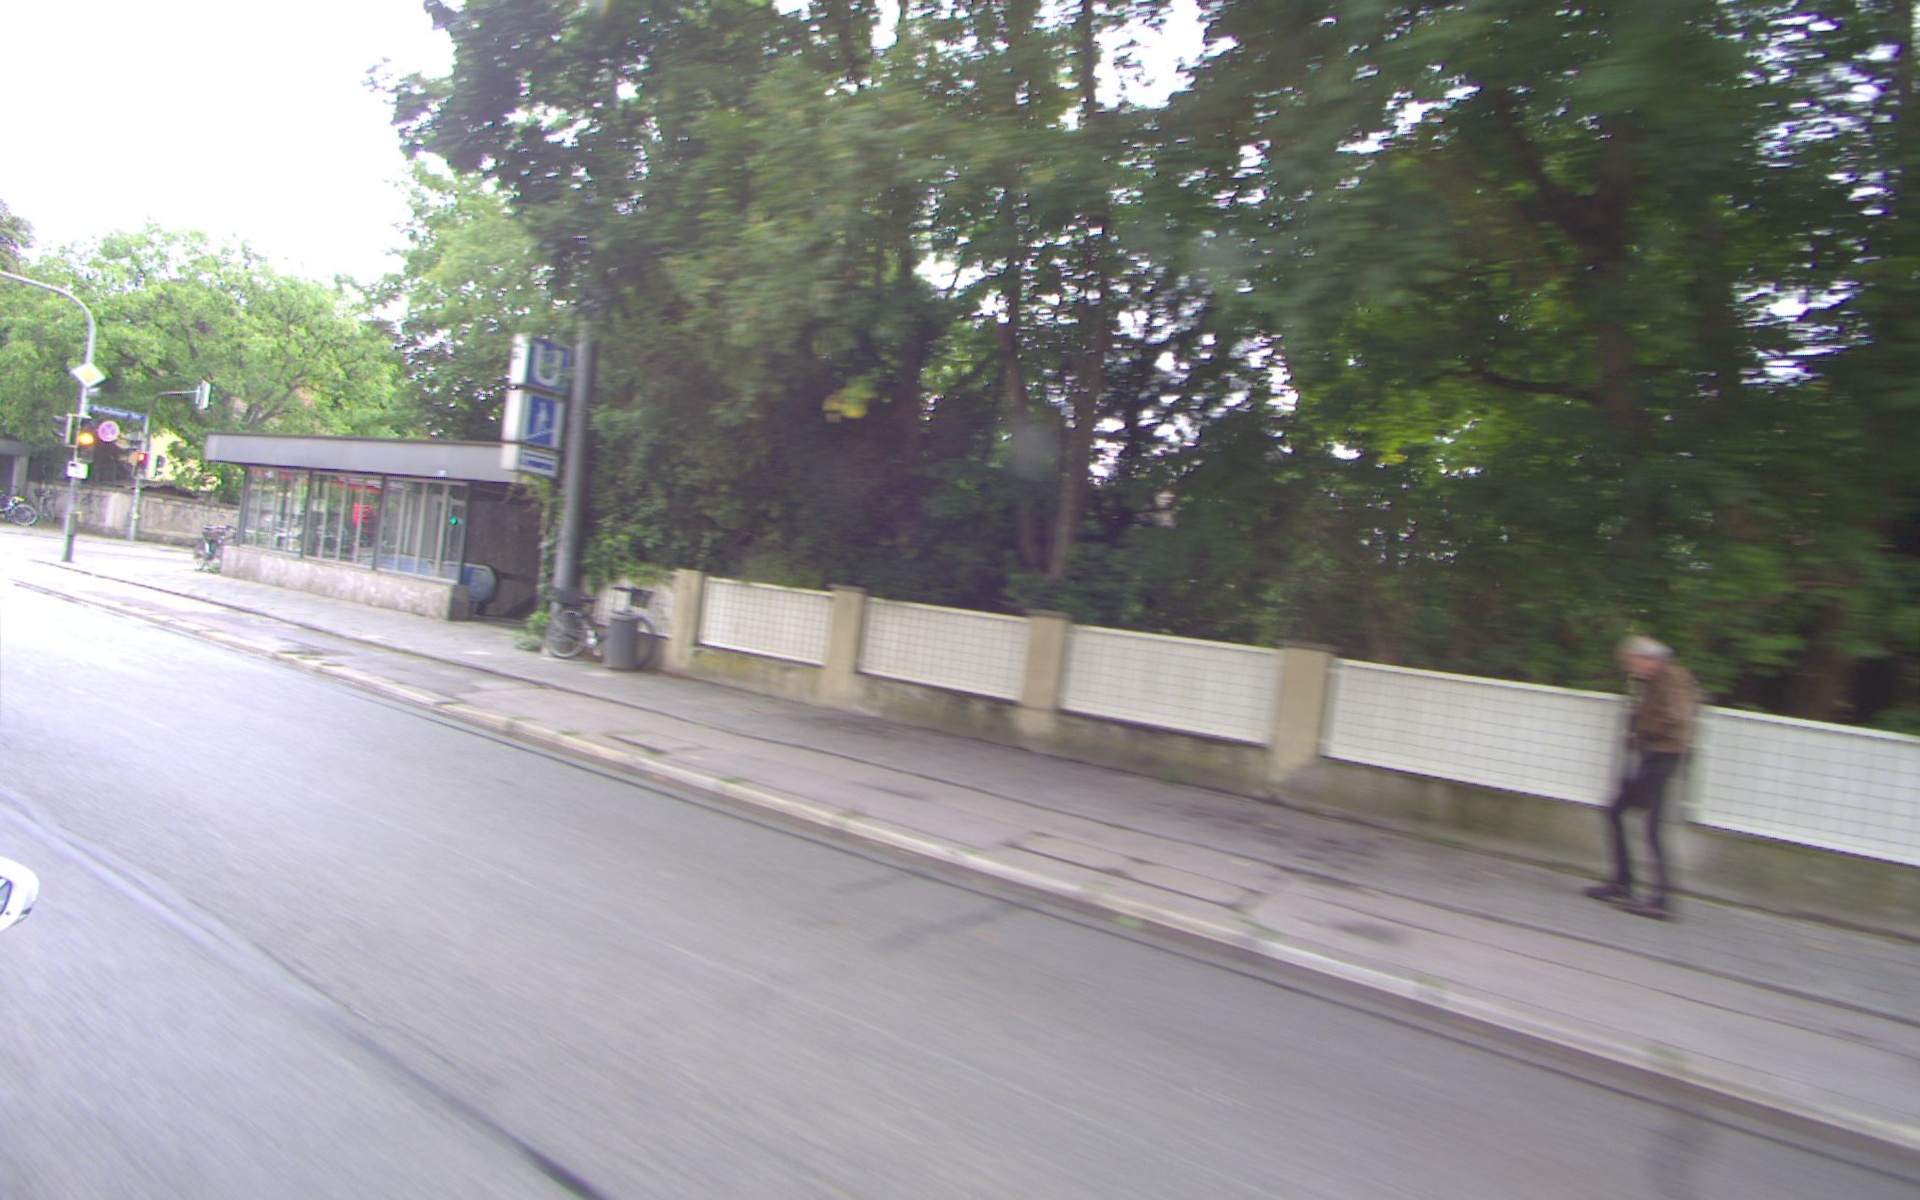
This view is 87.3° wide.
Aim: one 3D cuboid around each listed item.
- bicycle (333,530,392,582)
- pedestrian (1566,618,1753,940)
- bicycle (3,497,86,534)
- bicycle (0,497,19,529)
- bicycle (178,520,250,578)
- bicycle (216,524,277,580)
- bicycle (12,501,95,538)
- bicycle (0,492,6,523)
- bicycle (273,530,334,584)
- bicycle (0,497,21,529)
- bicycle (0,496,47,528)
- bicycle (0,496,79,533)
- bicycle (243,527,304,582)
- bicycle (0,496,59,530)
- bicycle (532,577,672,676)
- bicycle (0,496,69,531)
[{"bbox_3d":[-15.200,-1.125,25.563,1.707,1.135,0.469,6,0,33],"label":"bicycle"},{"bbox_3d":[4.743,1.162,6.892,0.789,1.967,0.778,8,2,32],"label":"pedestrian"},{"bbox_3d":[-33.961,-3.130,37.354,0.625,1.026,2.141,8,-1,40],"label":"bicycle"},{"bbox_3d":[-33.768,-3.108,34.462,0.594,1.026,2.141,8,0,40],"label":"bicycle"},{"bbox_3d":[-16.914,-1.167,22.803,1.859,1.135,0.600,6,0,32],"label":"bicycle"},{"bbox_3d":[-16.585,-1.117,23.370,1.707,1.135,0.469,6,0,33],"label":"bicycle"},{"bbox_3d":[-33.288,-2.946,36.981,0.625,1.026,2.141,8,-1,40],"label":"bicycle"},{"bbox_3d":[-34.941,-3.410,35.191,0.594,1.084,2.141,8,0,40],"label":"bicycle"},{"bbox_3d":[-15.940,-1.046,24.409,1.707,1.135,0.469,6,0,33],"label":"bicycle"},{"bbox_3d":[-34.178,-3.166,34.959,0.625,1.026,2.141,8,-1,40],"label":"bicycle"},{"bbox_3d":[-37.245,-3.519,39.353,0.625,1.026,2.141,8,-1,40],"label":"bicycle"},{"bbox_3d":[-34.593,-3.203,37.762,0.625,1.026,2.141,8,-1,40],"label":"bicycle"},{"bbox_3d":[-16.284,-1.082,23.865,1.707,1.135,0.469,6,0,33],"label":"bicycle"},{"bbox_3d":[-35.968,-3.375,38.474,0.625,1.026,2.141,8,-1,40],"label":"bicycle"},{"bbox_3d":[-4.983,0.353,13.938,1.992,1.104,0.623,7,0,32],"label":"bicycle"},{"bbox_3d":[-35.291,-3.291,38.109,0.625,1.026,2.141,8,-1,40],"label":"bicycle"}]
